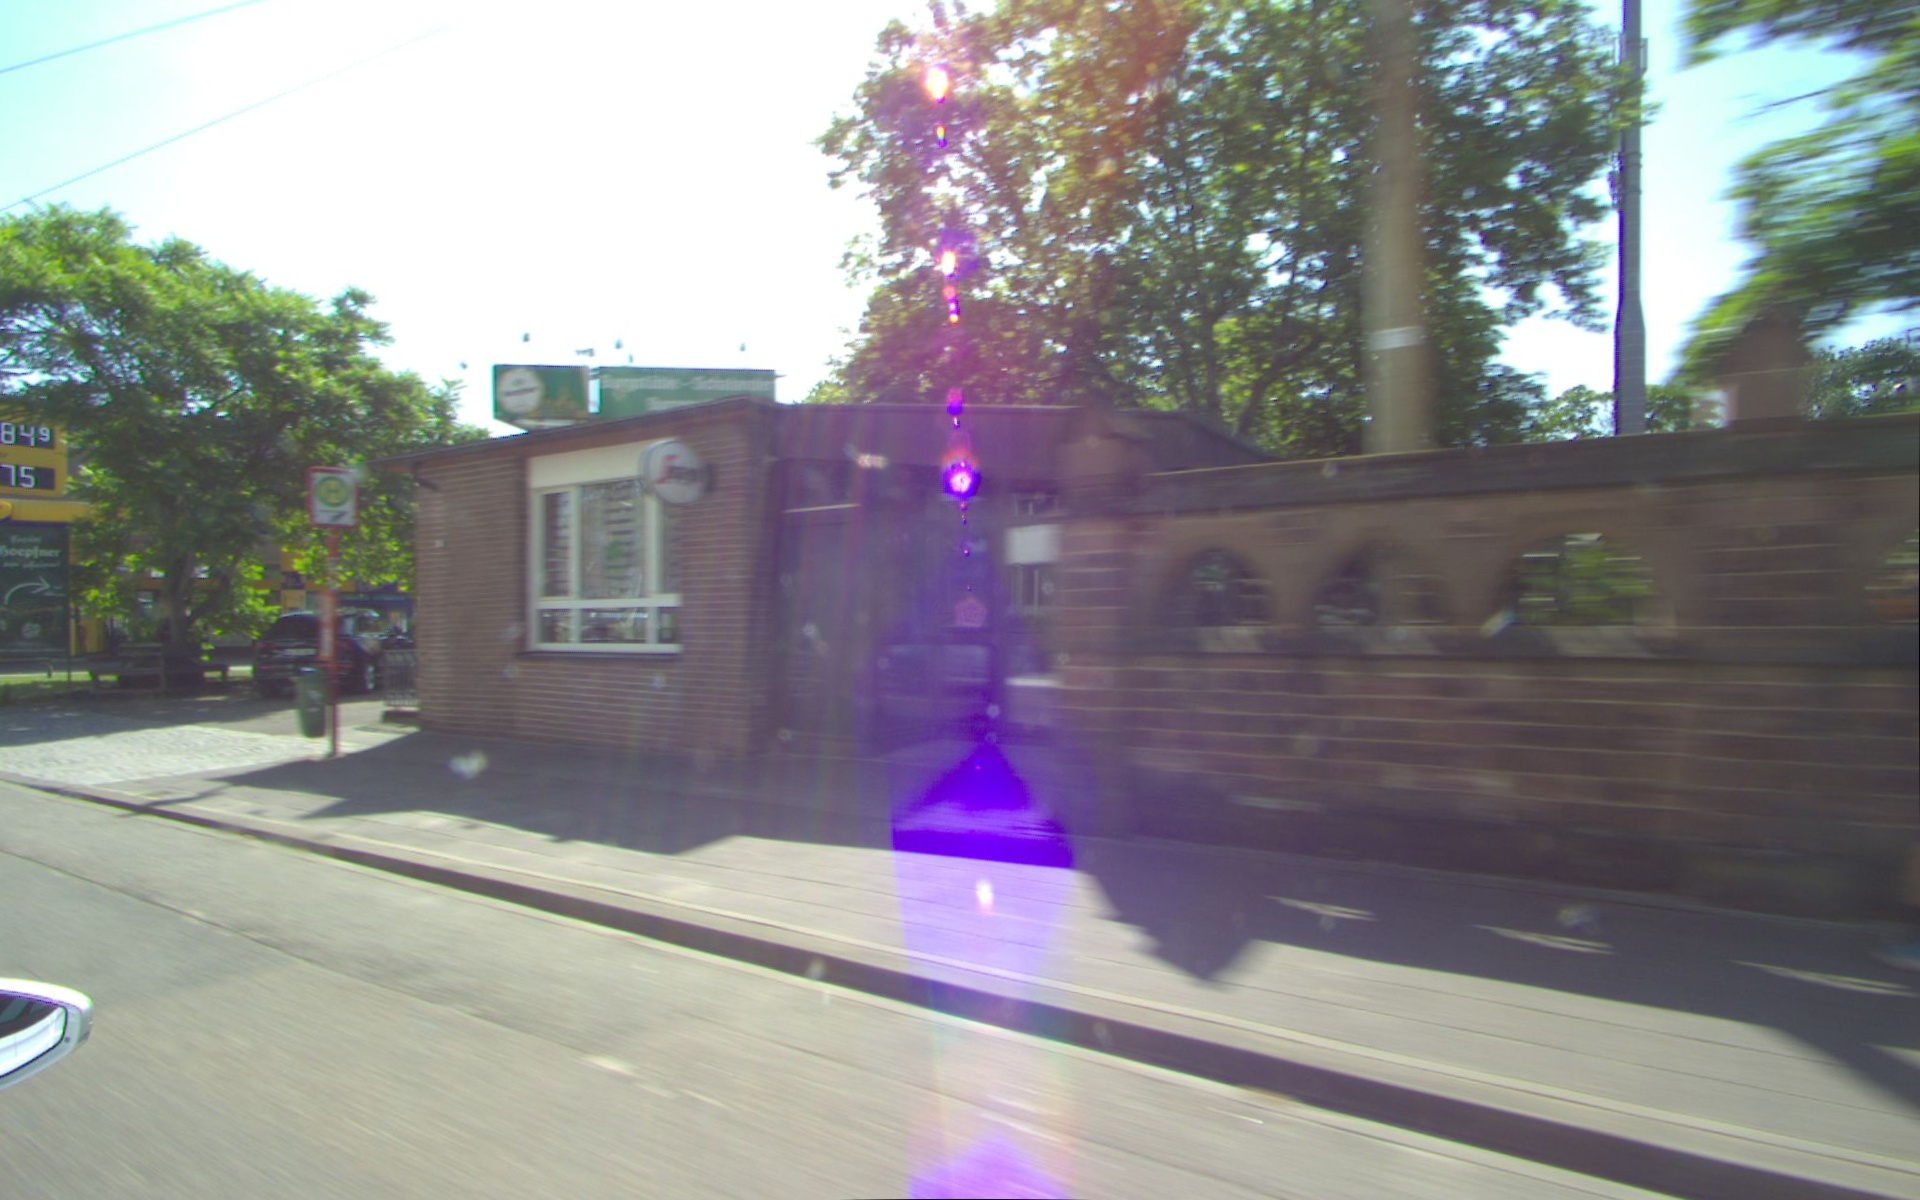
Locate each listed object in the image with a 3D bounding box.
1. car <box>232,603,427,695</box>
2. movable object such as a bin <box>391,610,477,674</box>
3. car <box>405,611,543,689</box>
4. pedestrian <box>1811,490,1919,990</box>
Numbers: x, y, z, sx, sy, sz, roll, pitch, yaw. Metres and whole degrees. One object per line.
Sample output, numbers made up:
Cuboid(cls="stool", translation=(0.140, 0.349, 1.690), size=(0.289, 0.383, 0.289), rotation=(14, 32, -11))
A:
Cuboid(cls="car", translation=(-12.667, 0.913, 20.510), size=(1.983, 1.662, 4.654), rotation=(0, -1, -14))
Cuboid(cls="movable object such as a bin", translation=(-12.887, 1.008, 24.551), size=(1.361, 1.522, 1.413), rotation=(0, -1, 36))
Cuboid(cls="car", translation=(-10.203, 0.989, 21.319), size=(1.813, 1.493, 3.995), rotation=(0, -1, -14))
Cuboid(cls="pedestrian", translation=(4.122, 0.495, 3.833), size=(1.168, 1.841, 0.973), rotation=(0, 3, 33))
